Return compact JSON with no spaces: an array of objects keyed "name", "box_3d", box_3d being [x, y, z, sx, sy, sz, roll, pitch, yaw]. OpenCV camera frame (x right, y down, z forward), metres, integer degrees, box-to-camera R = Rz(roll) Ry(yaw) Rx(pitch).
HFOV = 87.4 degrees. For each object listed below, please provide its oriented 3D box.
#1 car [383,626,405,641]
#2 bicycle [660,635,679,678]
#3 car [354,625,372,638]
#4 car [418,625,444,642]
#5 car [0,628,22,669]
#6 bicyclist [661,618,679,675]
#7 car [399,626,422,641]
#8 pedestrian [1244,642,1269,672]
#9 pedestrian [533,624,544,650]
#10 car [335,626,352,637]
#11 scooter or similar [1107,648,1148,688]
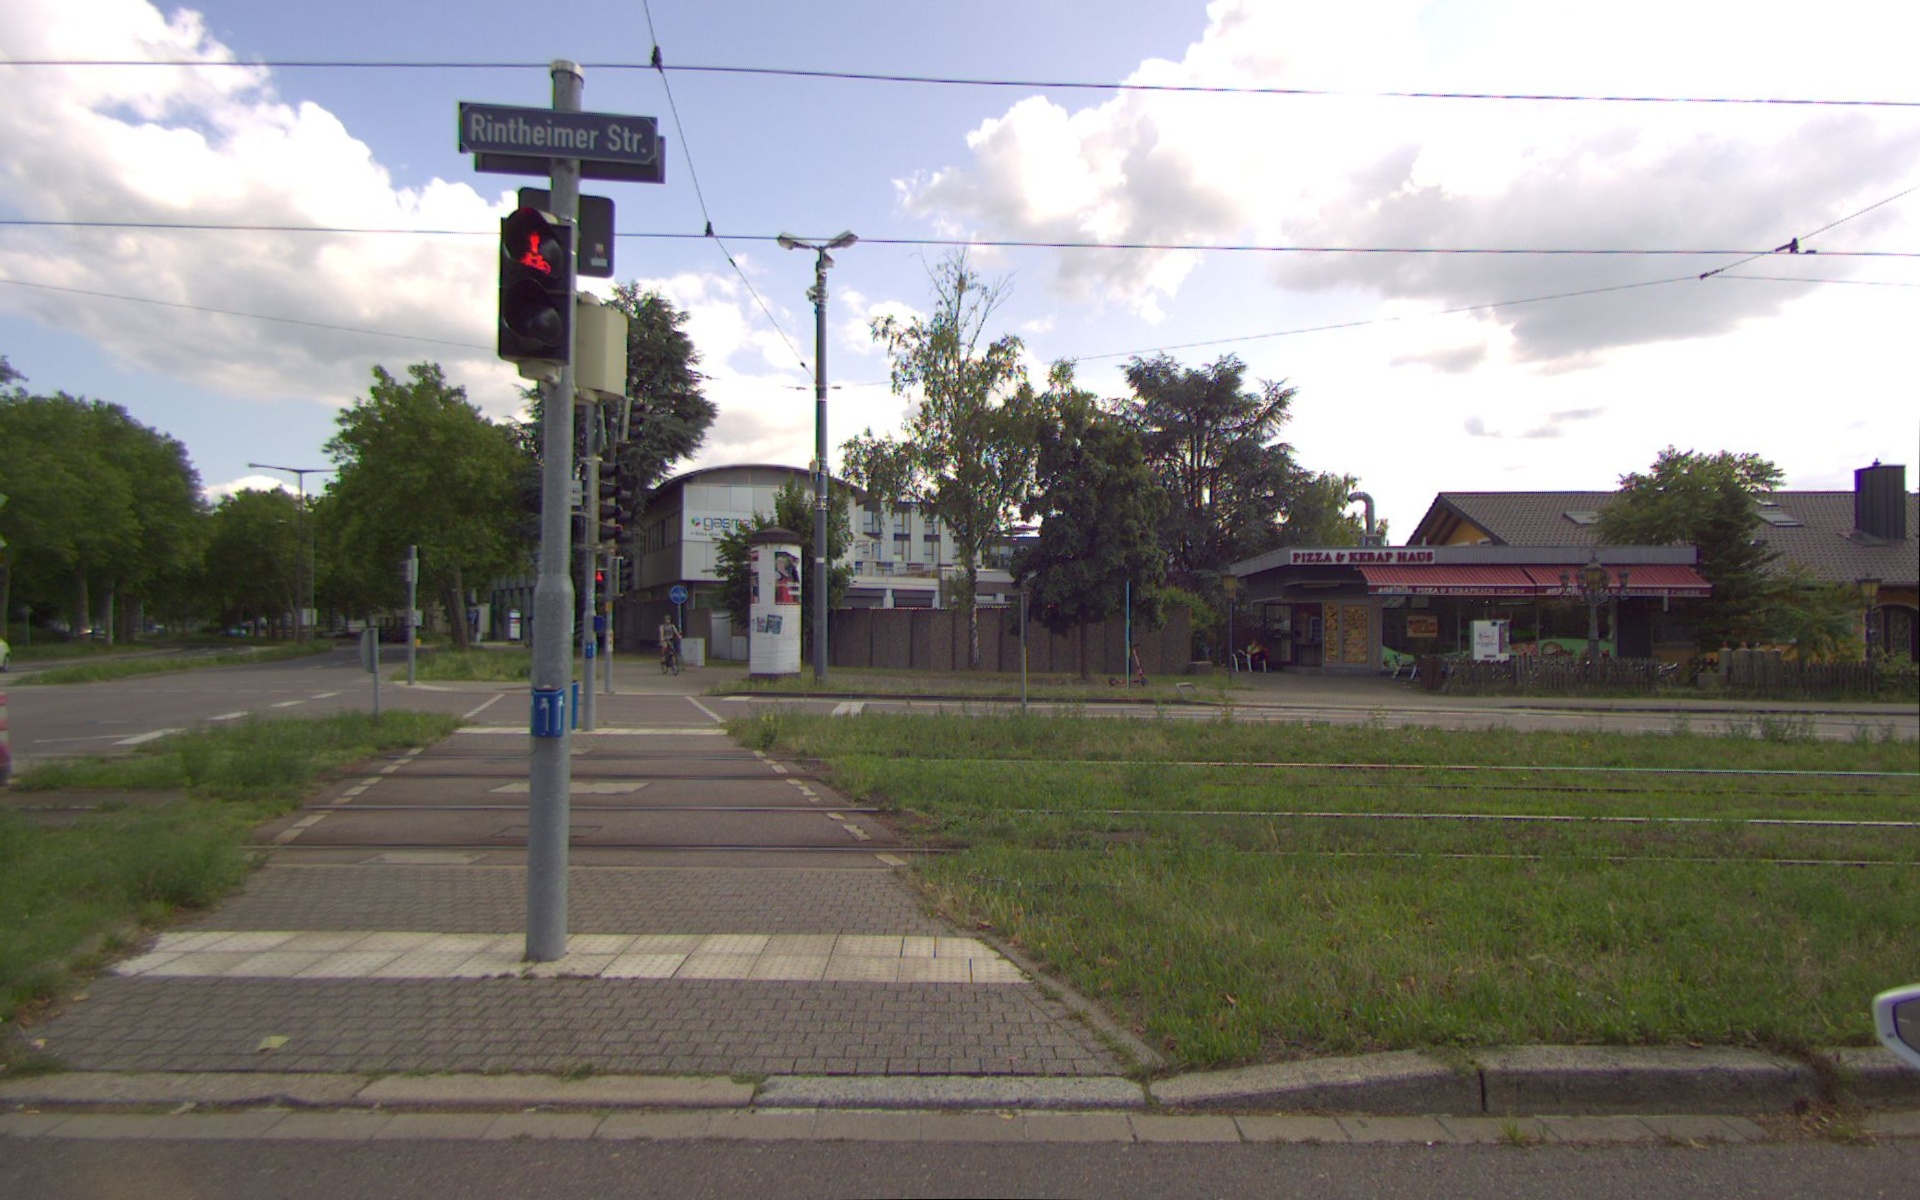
[{"name":"car","box_3d":[-67.786,3.993,120.217,1.980,1.595,3.961,1,0,-34]},{"name":"bicycle","box_3d":[-9.418,1.819,32.605,0.532,1.252,1.946,1,0,-14]},{"name":"car","box_3d":[-83.711,4.373,140.879,1.980,1.595,3.961,1,0,-34]},{"name":"car","box_3d":[-55.157,3.434,104.766,1.980,1.595,3.961,1,0,-34]},{"name":"car","box_3d":[-32.983,1.602,33.066,1.806,1.382,4.113,1,-2,-25]},{"name":"bicyclist","box_3d":[-9.414,1.505,32.605,0.532,1.834,0.543,1,0,-15]},{"name":"car","box_3d":[-62.313,3.783,113.902,1.980,1.595,3.961,1,0,-34]},{"name":"pedestrian","box_3d":[9.856,1.898,33.418,0.712,0.941,0.777,1,0,9]},{"name":"pedestrian","box_3d":[-26.568,2.349,63.368,0.614,1.590,0.556,1,0,-23]},{"name":"car","box_3d":[-92.743,4.743,151.042,1.980,1.595,3.961,1,0,-34]},{"name":"scooter or similar","box_3d":[4.736,1.921,28.420,1.082,1.073,0.402,1,0,20]}]
